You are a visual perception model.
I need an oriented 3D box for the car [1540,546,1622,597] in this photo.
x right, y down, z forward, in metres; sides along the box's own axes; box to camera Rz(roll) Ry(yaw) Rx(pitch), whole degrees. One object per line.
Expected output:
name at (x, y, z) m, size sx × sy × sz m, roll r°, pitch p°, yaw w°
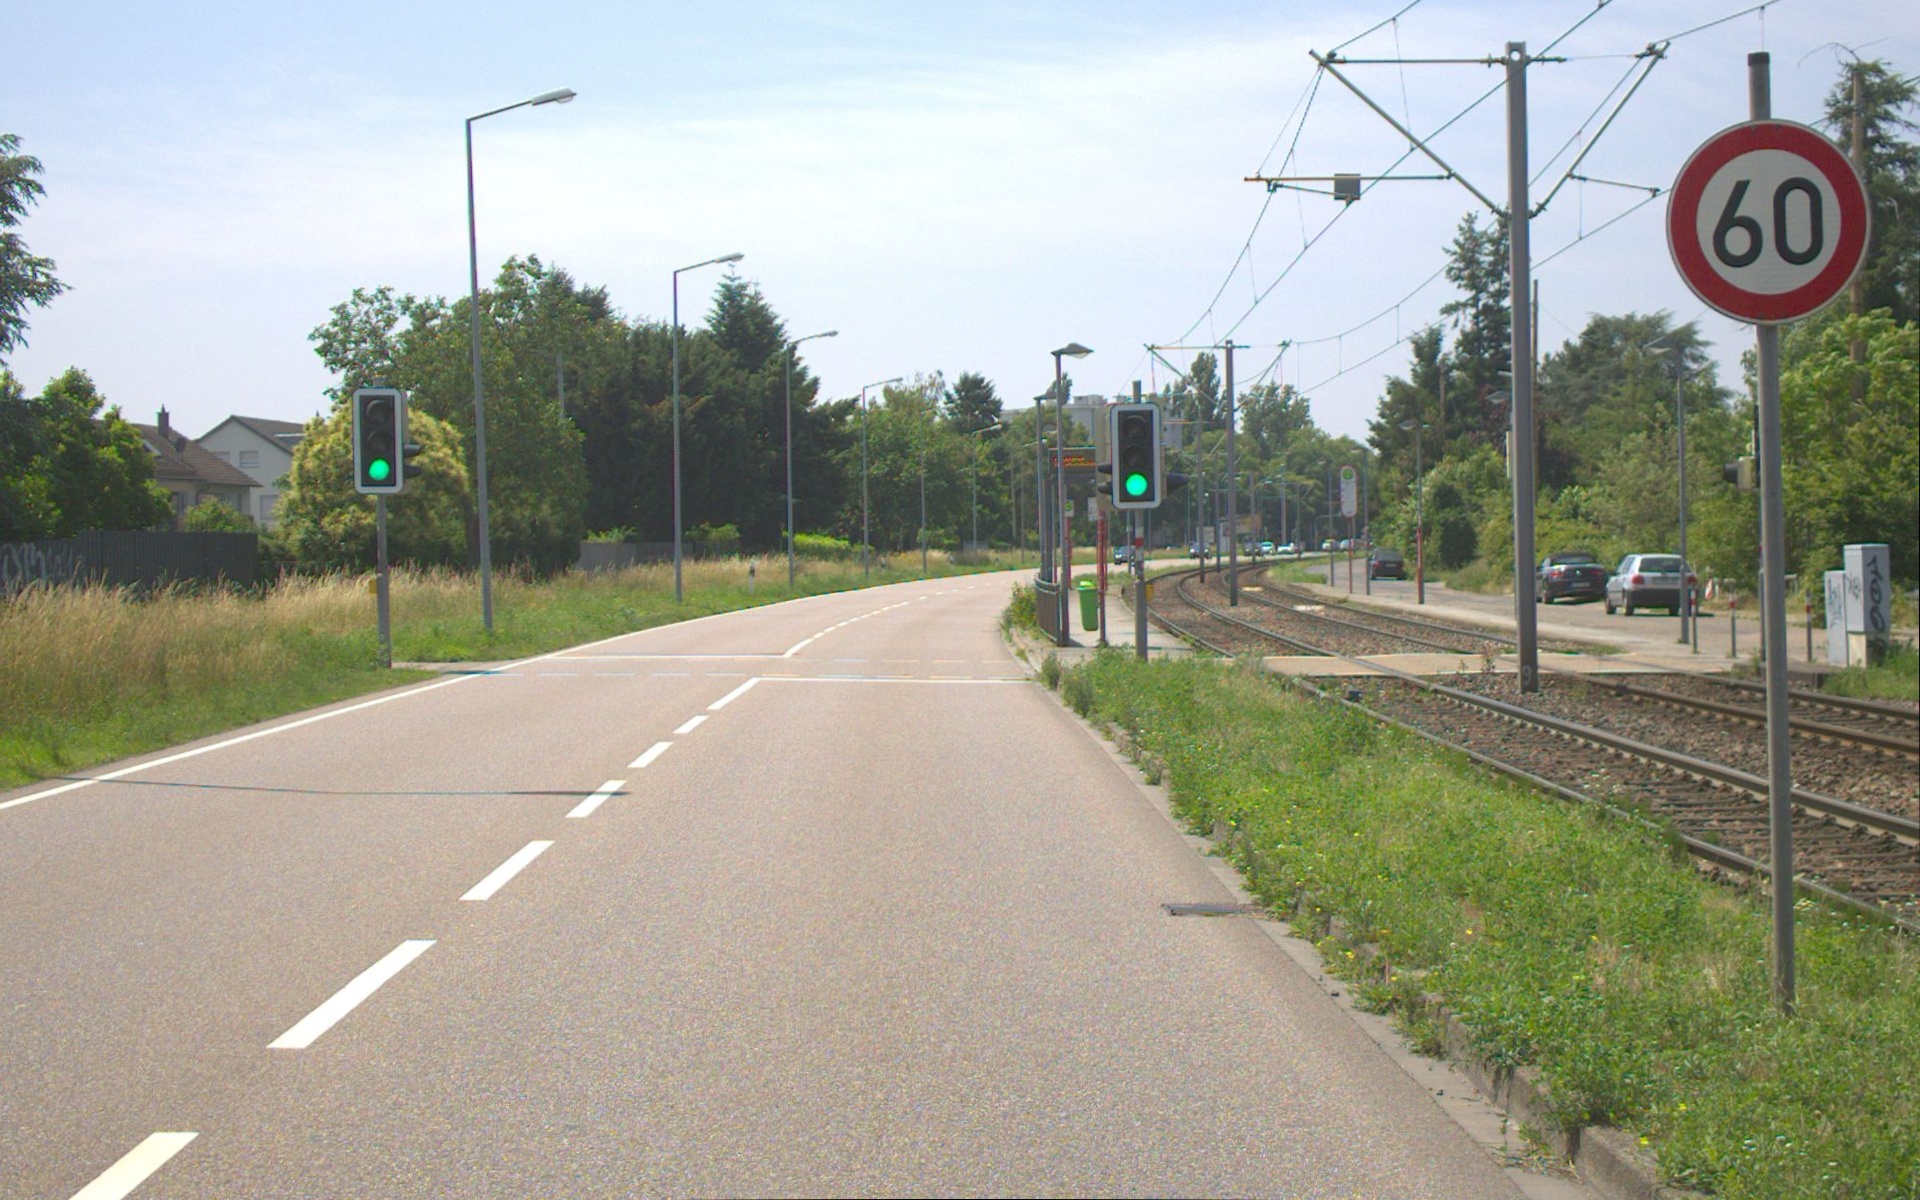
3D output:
car at (17.625, -0.819, 97.697) m, size 1.620 × 1.417 × 4.873 m, roll 0°, pitch 1°, yaw 2°

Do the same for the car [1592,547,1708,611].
car at (15.776, -0.503, 78.771) m, size 1.939 × 1.417 × 4.000 m, roll 0°, pitch 1°, yaw 1°

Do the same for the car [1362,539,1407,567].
car at (20.619, -2.265, 167.072) m, size 1.861 × 1.325 × 4.515 m, roll 0°, pitch 1°, yaw 3°
